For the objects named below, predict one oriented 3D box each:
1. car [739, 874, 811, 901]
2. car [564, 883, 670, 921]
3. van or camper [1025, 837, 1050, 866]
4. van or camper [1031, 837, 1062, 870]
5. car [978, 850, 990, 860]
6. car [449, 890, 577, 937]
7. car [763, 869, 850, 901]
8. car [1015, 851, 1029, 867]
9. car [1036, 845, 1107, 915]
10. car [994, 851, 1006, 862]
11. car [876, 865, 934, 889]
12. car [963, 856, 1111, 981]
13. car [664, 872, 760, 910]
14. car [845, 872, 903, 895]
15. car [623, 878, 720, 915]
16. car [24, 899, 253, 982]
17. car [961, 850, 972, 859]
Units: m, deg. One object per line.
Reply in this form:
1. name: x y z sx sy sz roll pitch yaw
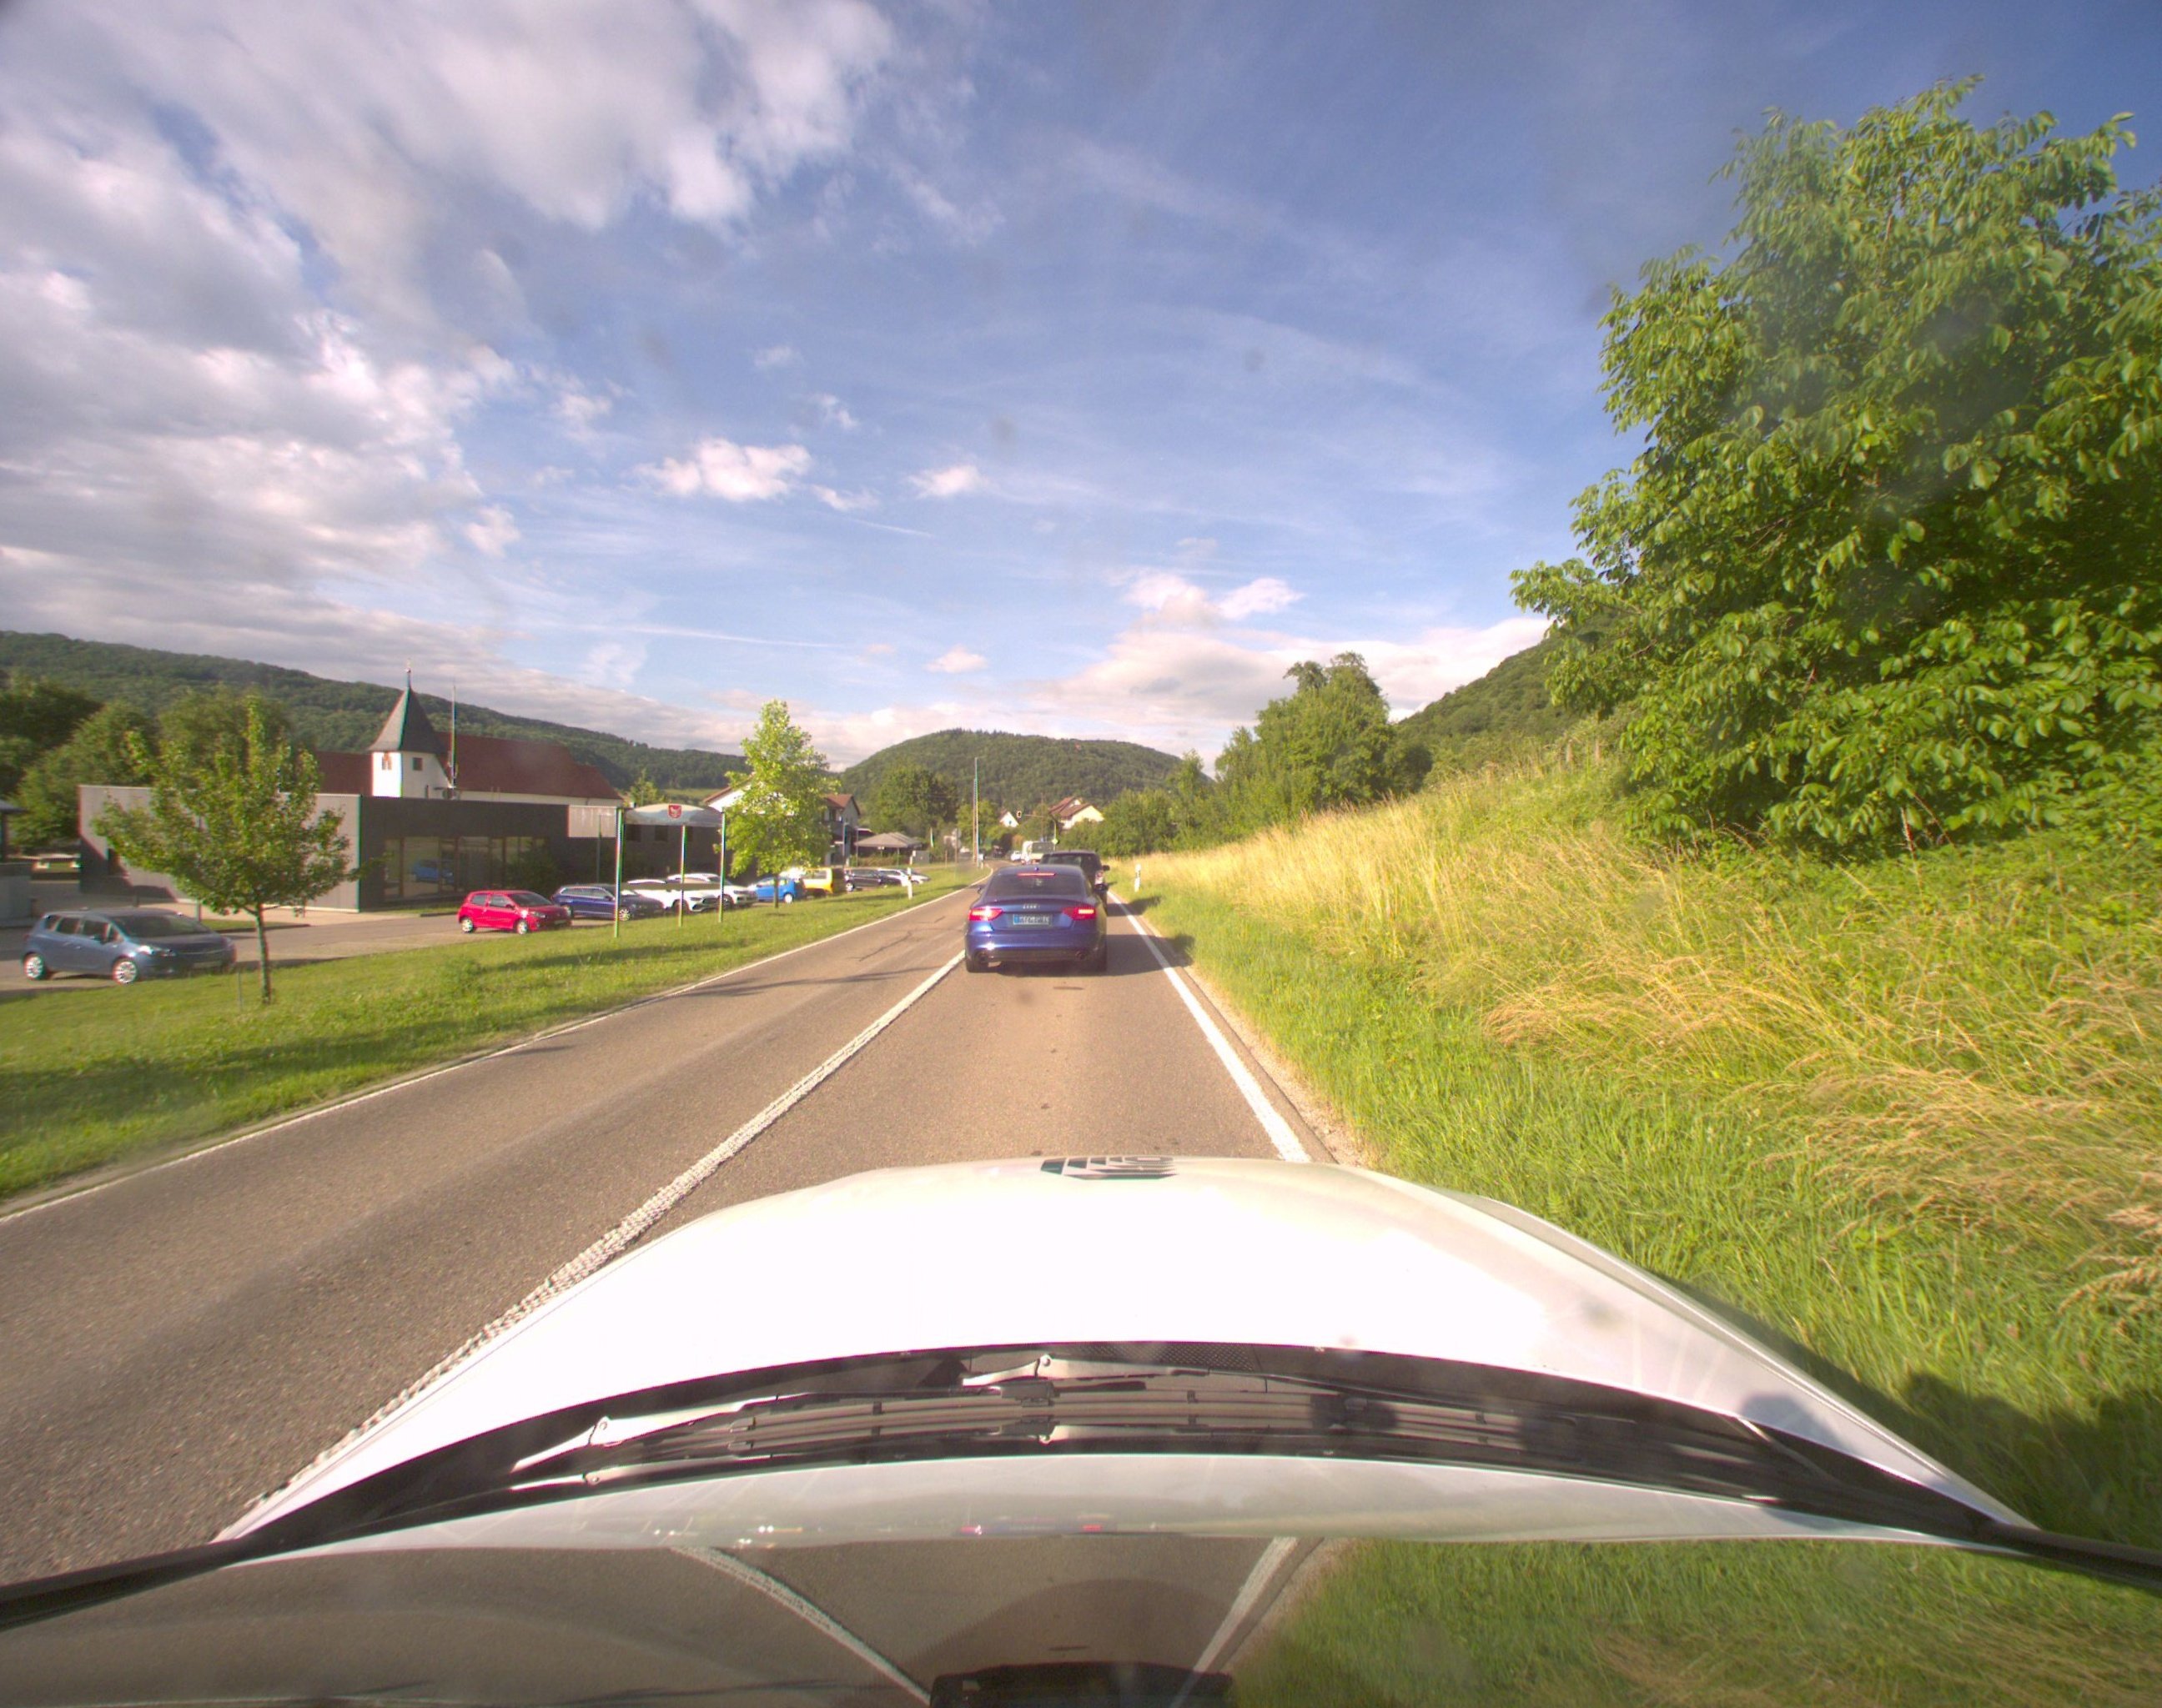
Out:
1. car: -17.295 1.895 46.138 3.354 1.373 1.662 -2 0 3
2. car: -19.184 1.971 33.737 3.601 1.405 1.602 -2 0 11
3. van or camper: -4.460 -0.218 82.718 2.278 2.714 5.755 -2 0 -6
4. van or camper: -2.820 -0.021 65.148 2.049 2.505 5.799 -2 0 -6
5. car: -18.778 0.207 156.950 1.680 1.924 3.979 -2 -1 -15
6. car: -20.024 2.062 28.762 3.601 1.444 1.654 0 1 11
7. car: -16.257 1.819 48.363 4.530 1.815 1.844 0 -1 6
8. car: -7.637 0.673 105.634 1.658 1.924 3.991 -2 0 -6
9. car: -0.234 0.605 20.698 1.641 1.625 3.515 0 0 -1
10. car: -13.848 0.434 138.981 1.678 1.924 3.983 -2 -1 -12
11. car: -13.578 1.778 62.909 4.009 1.660 1.661 -2 0 11
12. car: -0.494 0.765 11.352 1.736 1.450 3.517 0 0 1
13. car: -18.183 1.816 40.168 4.050 1.673 1.602 -2 0 11
14. car: -14.810 2.108 58.417 3.688 1.439 1.514 -2 0 11
15. car: -18.504 1.901 36.872 3.642 1.494 1.602 -2 0 11
16. car: -21.759 1.968 18.864 3.794 1.722 1.737 -1 -1 10
17. car: -24.636 0.169 174.801 1.680 1.924 3.978 -2 -1 -16
